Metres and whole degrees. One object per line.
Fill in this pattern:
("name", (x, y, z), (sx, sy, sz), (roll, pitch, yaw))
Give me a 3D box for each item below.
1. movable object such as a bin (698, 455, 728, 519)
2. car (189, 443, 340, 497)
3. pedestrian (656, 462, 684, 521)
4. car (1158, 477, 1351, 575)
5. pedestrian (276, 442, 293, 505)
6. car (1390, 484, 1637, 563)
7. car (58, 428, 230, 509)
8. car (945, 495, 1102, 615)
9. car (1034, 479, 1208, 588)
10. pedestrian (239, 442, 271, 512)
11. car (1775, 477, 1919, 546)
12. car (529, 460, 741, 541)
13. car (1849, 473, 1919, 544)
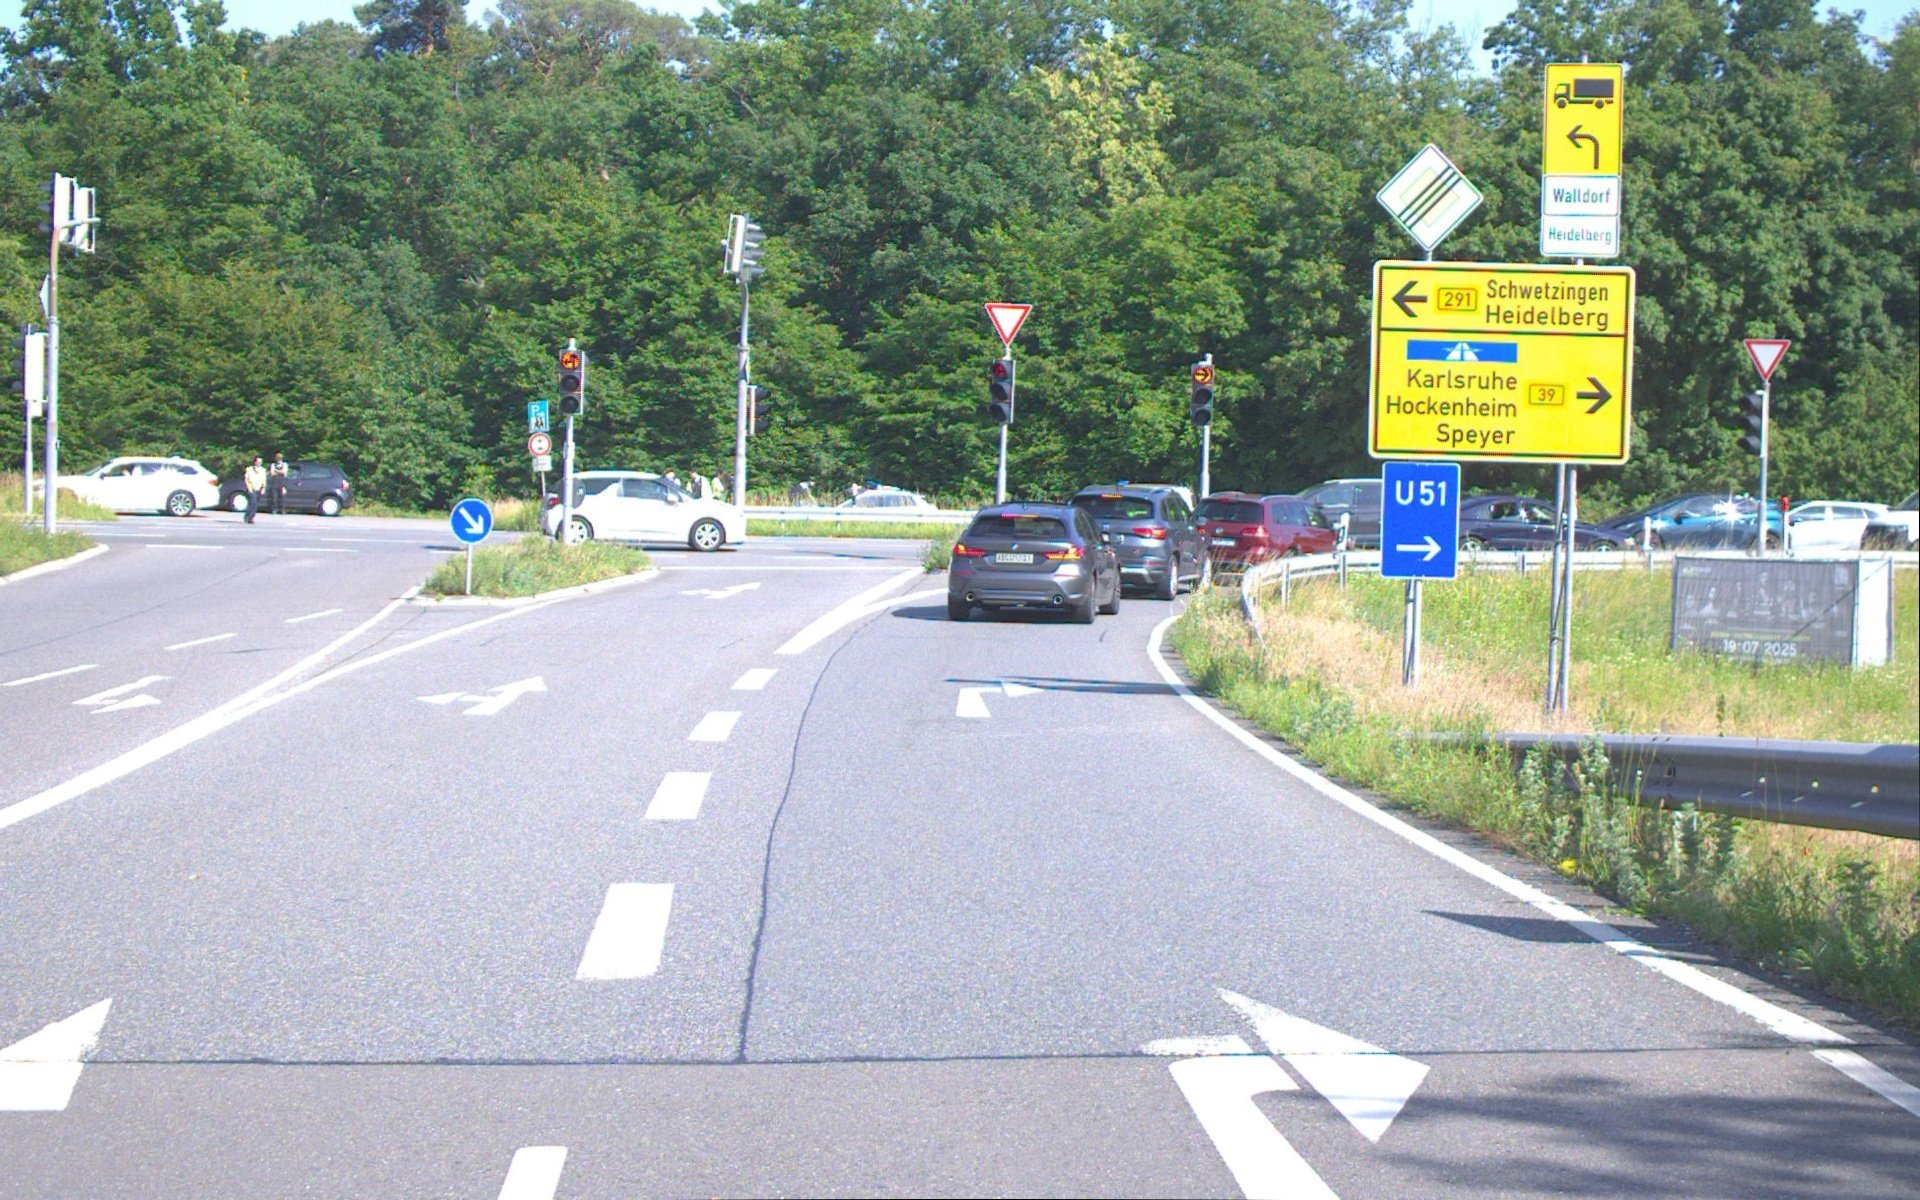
("movable object such as a bin", (-5.859, -2.679, 81.538), (0.602, 1.483, 0.732), (-1, 2, 4))
("car", (-19.168, -3.579, 94.893), (3.986, 1.417, 1.796), (-1, 2, -9))
("pedestrian", (-6.812, -2.556, 80.818), (0.523, 1.386, 0.514), (-1, 2, 8))
("car", (4.836, -1.209, 56.043), (1.802, 1.495, 3.995), (2, 2, 26))
("pedestrian", (-18.463, -3.461, 93.968), (0.407, 1.708, 0.453), (-1, 2, -7))
("car", (10.878, -1.514, 67.692), (4.363, 1.454, 2.001), (-1, 2, -10))
("car", (-20.896, -3.375, 88.012), (3.986, 2.006, 1.796), (-2, 2, -24))
("car", (0.845, -0.606, 43.348), (1.799, 1.393, 4.000), (1, 2, 3))
("car", (2.422, -1.003, 50.724), (1.800, 1.495, 3.998), (2, 2, 14))
("pedestrian", (-17.362, -3.036, 84.673), (0.756, 1.715, 0.679), (0, 2, -13))
("car", (21.734, -2.091, 80.175), (4.880, 1.546, 2.001), (-1, 2, -9))
("car", (-6.137, -1.861, 64.698), (3.832, 1.481, 1.891), (0, 2, -10))
("car", (22.518, -2.081, 76.555), (4.880, 1.546, 2.001), (-1, 2, -9))
